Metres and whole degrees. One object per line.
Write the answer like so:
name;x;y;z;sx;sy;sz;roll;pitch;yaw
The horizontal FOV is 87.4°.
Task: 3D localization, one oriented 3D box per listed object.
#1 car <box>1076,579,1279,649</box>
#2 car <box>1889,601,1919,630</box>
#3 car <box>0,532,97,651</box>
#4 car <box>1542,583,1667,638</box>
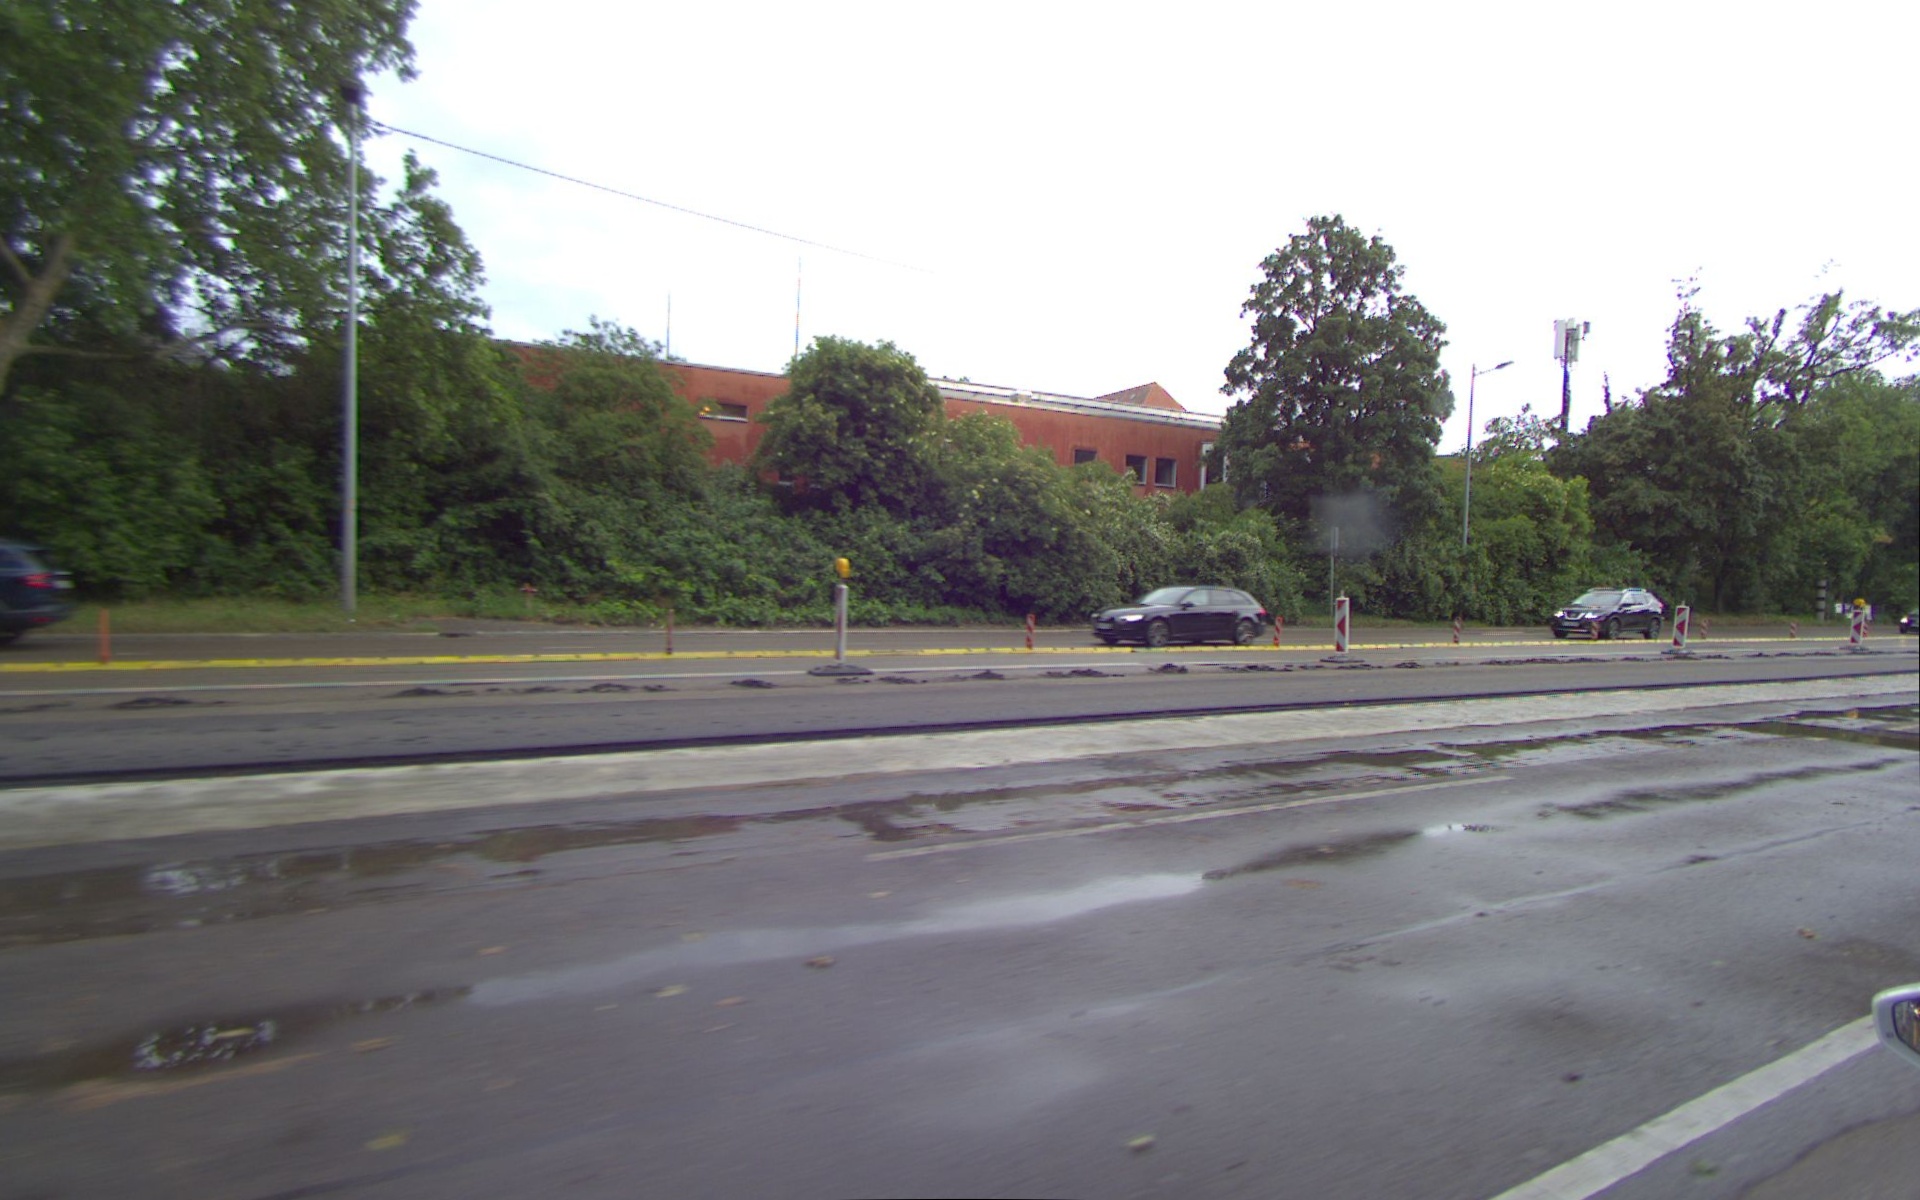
car;5.227;0.321;23.892;4.845;1.503;1.751;1;1;-32
car;48.501;0.788;50.687;3.819;1.350;1.439;1;1;-33
car;-15.491;-0.170;14.404;4.480;1.708;1.645;1;2;-31
car;21.853;0.357;34.023;4.442;1.745;1.726;1;1;-31
